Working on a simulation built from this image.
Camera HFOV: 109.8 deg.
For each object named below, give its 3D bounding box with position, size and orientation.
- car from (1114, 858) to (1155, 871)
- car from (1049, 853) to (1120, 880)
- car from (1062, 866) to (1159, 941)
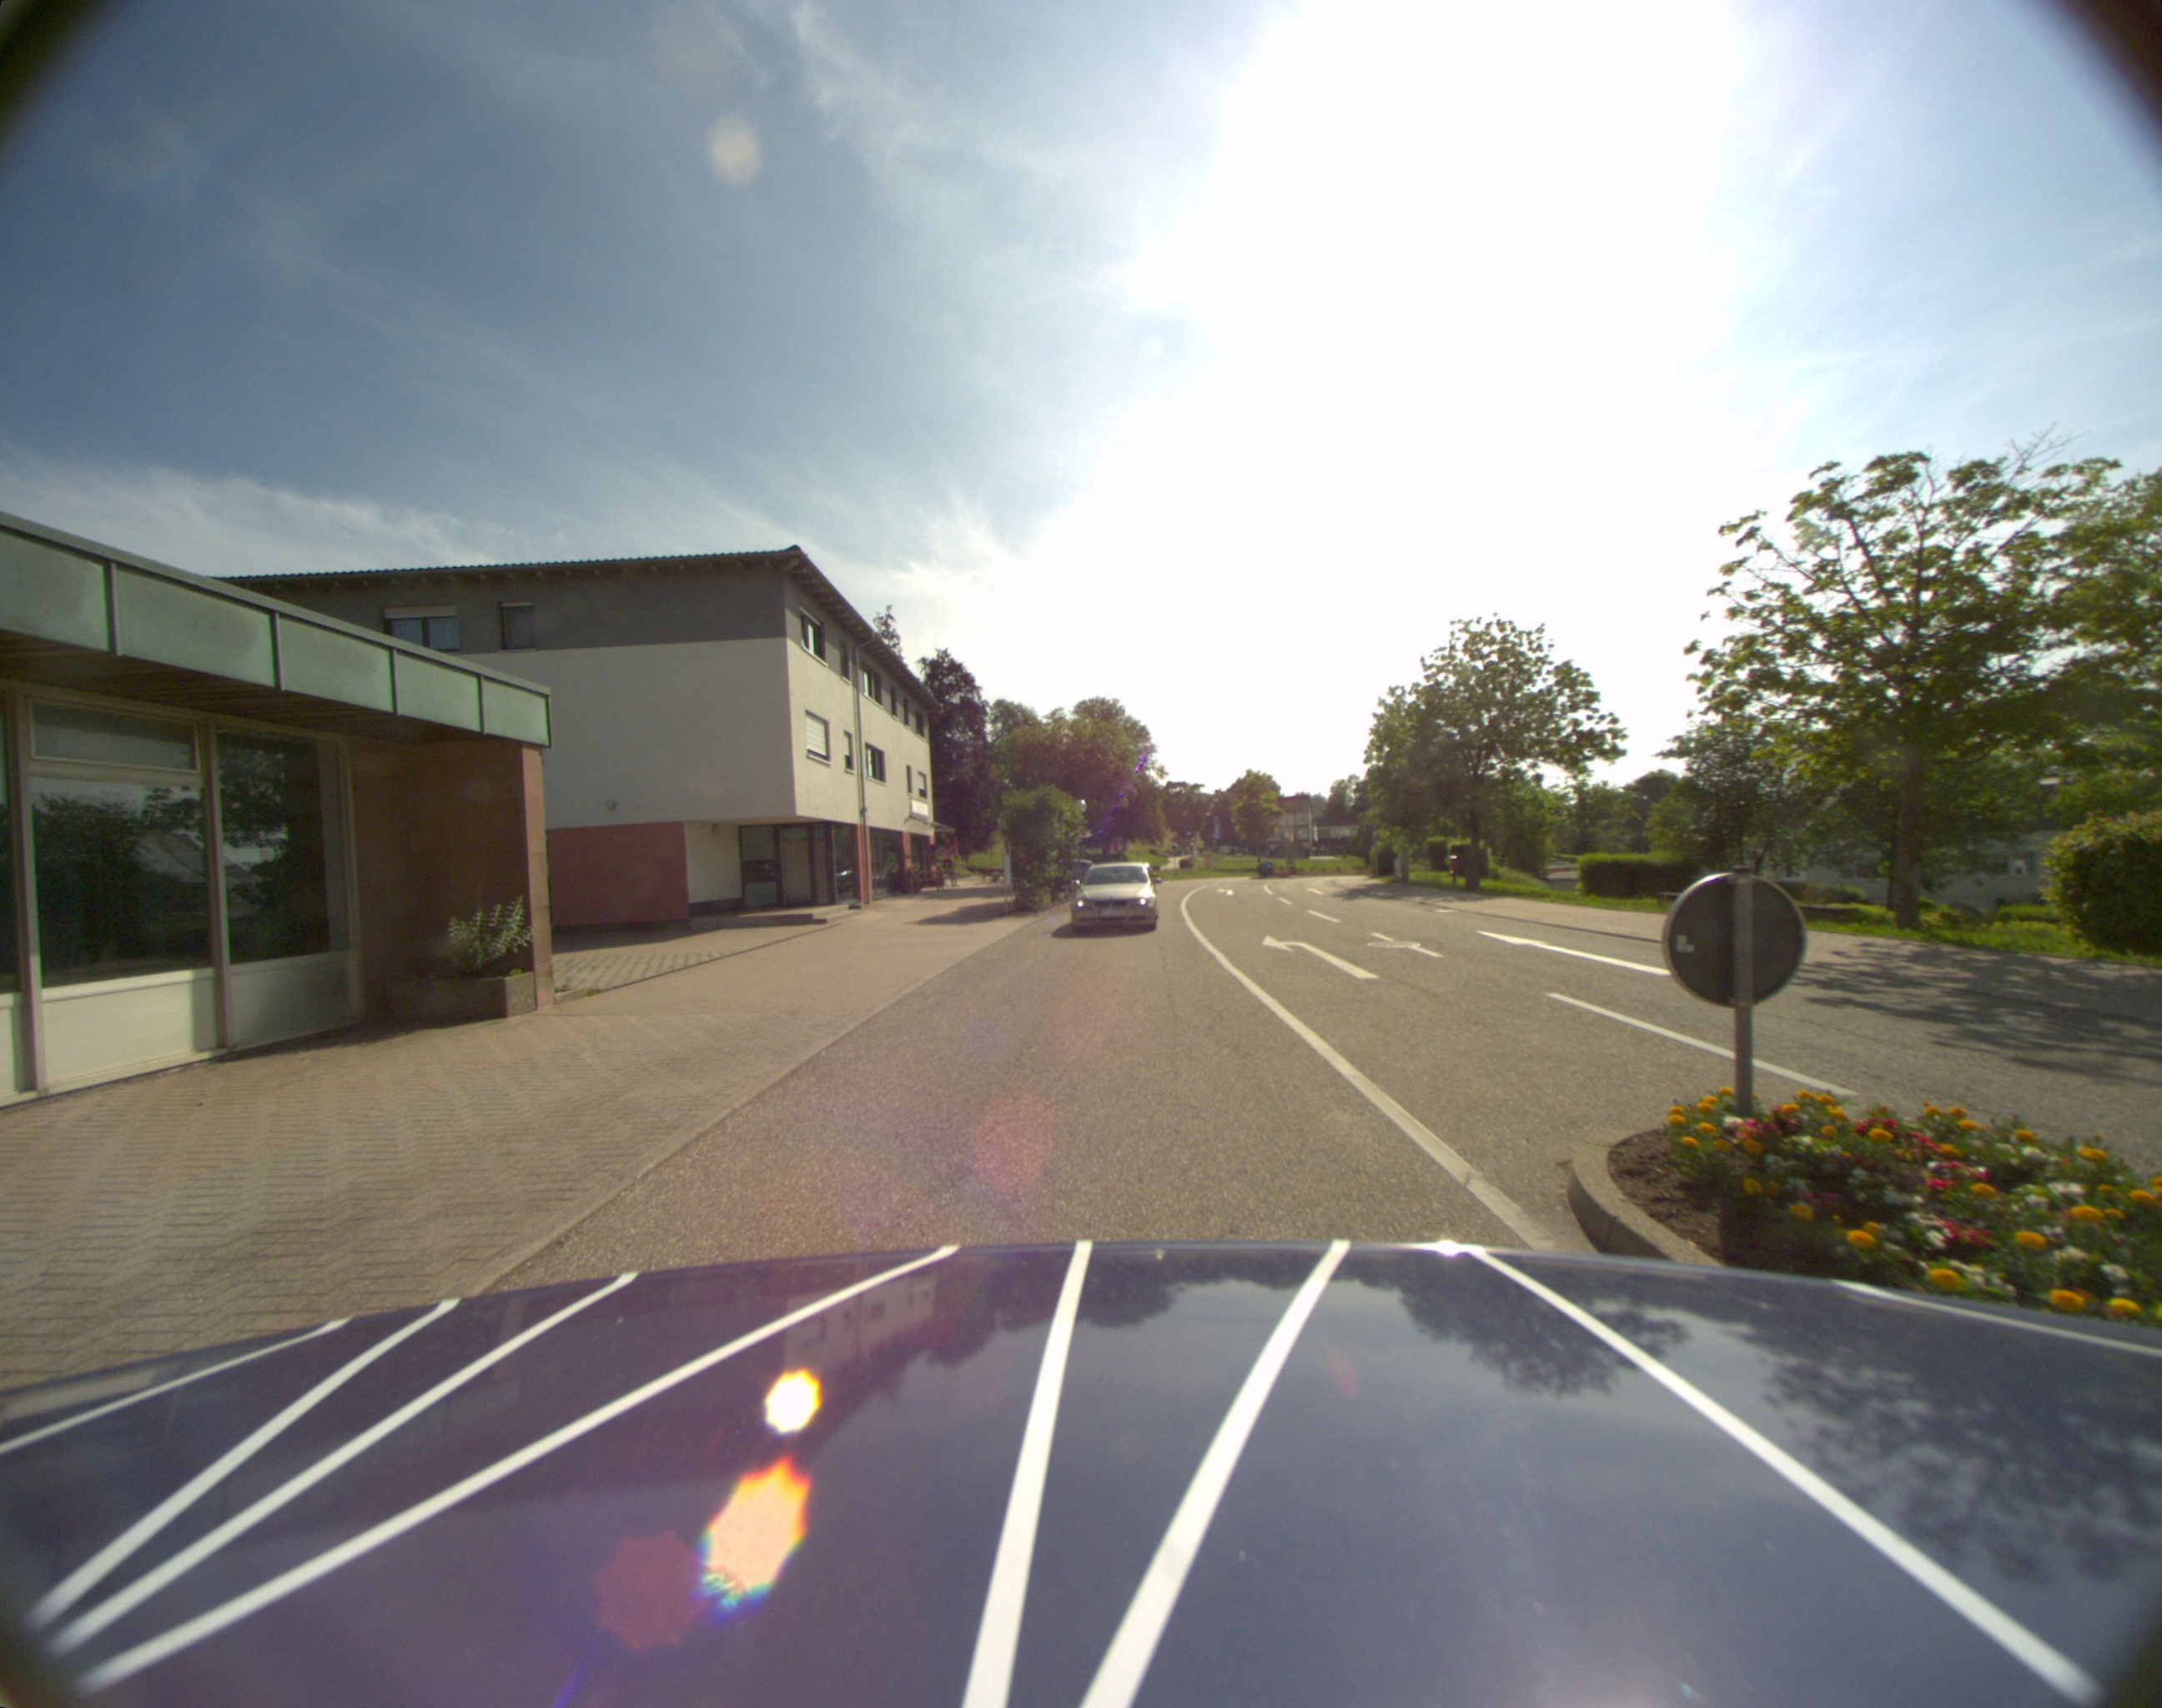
[{"bbox_3d":[5.971,1.161,85.011,4.254,1.420,1.706,0,0,34],"label":"car"},{"bbox_3d":[0.197,0.786,46.817,4.002,1.499,1.901,1,2,-13],"label":"car"},{"bbox_3d":[0.796,0.992,16.996,1.837,1.360,4.583,0,0,6],"label":"car"}]
